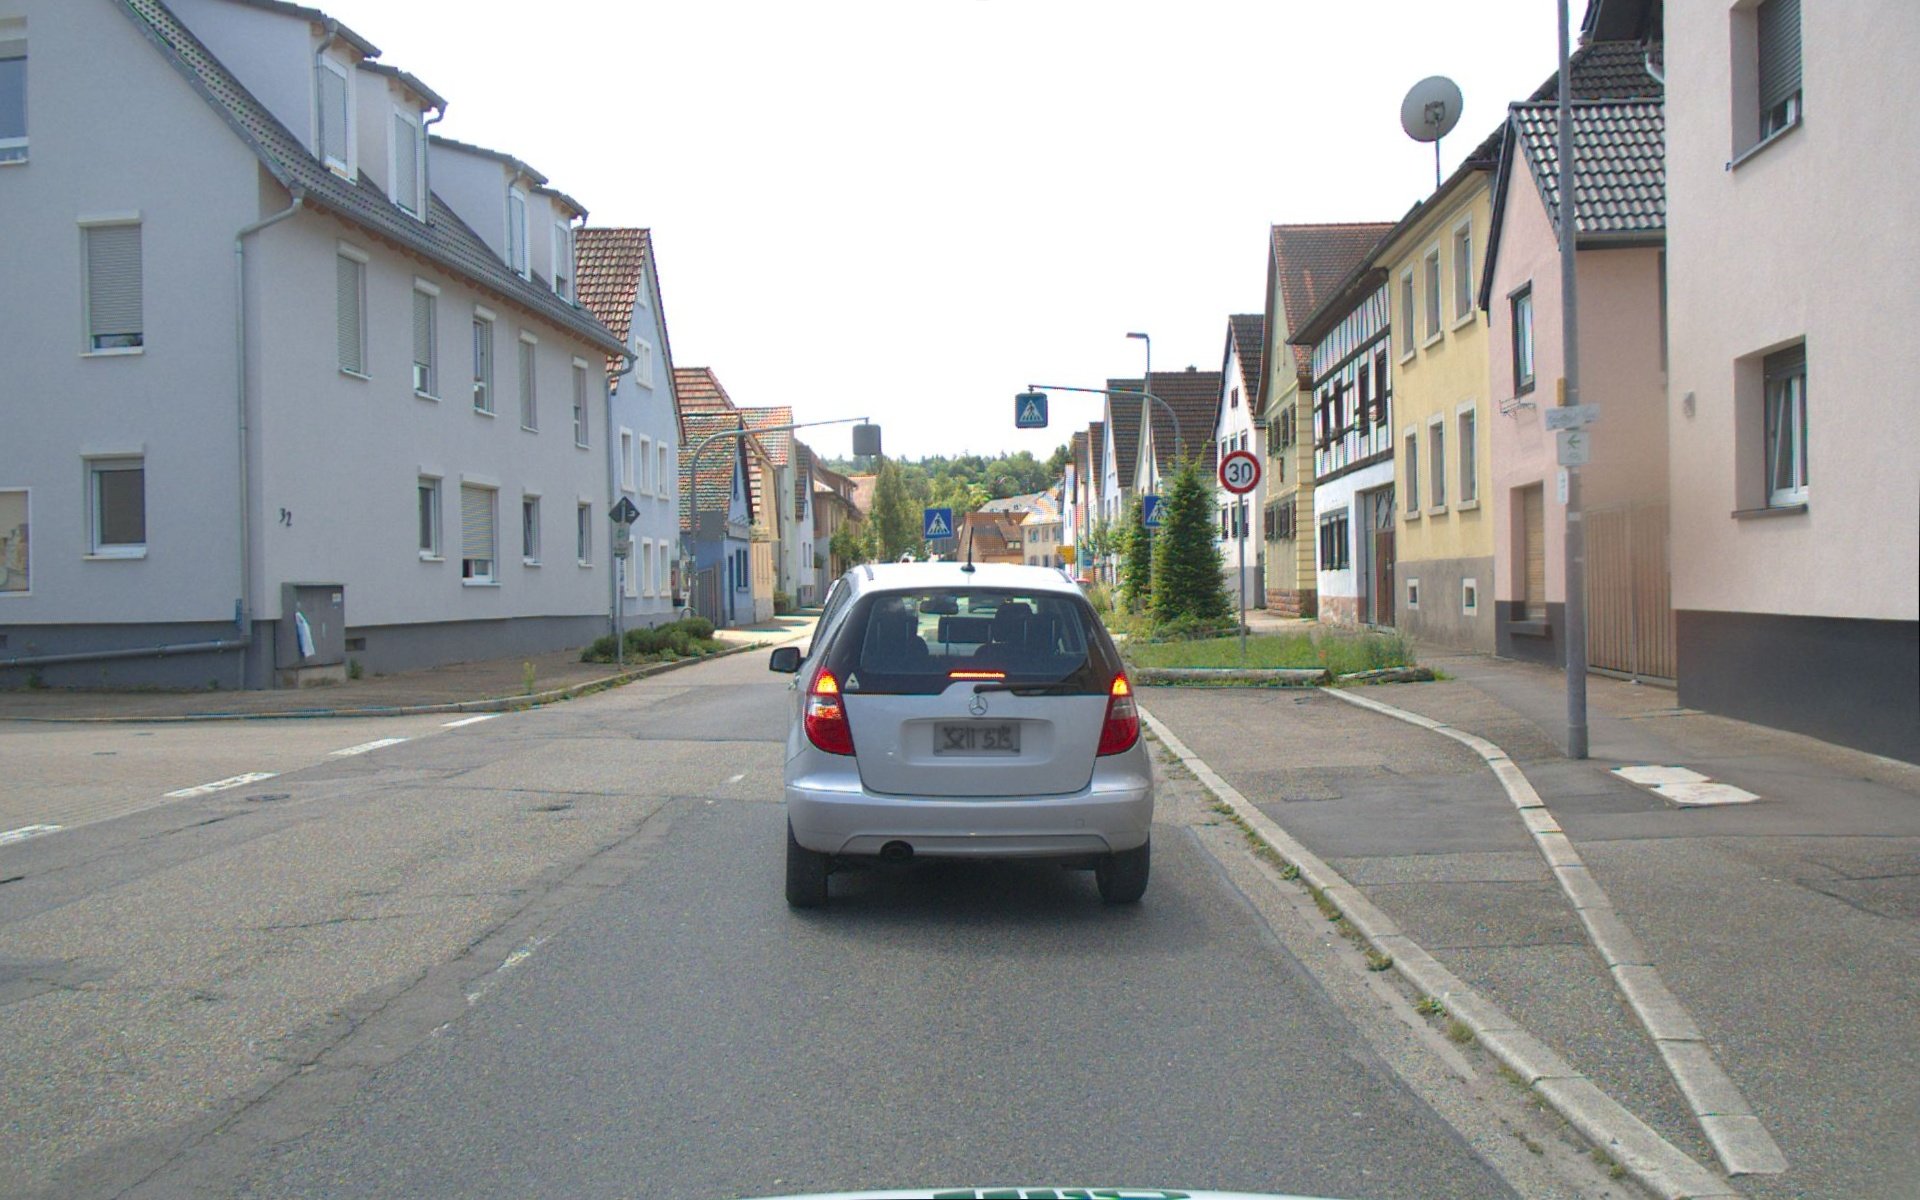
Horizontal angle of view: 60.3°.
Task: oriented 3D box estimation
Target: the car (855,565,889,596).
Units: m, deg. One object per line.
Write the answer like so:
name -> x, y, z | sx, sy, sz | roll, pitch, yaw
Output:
car -> -4.966, -1.092, 93.796 | 1.633, 1.624, 4.000 | 0, -1, 0

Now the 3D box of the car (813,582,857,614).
car -> -5.662, -0.060, 74.771 | 1.954, 1.344, 3.705 | 0, -1, -5

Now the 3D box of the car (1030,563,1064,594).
car -> 5.673, -1.376, 107.863 | 1.953, 1.848, 3.999 | 0, -1, -1

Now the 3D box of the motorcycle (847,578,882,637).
motorcycle -> -2.666, 0.195, 46.289 | 0.862, 1.588, 1.967 | 0, 1, 0

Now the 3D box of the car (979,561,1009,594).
car -> 2.238, -1.465, 109.310 | 1.952, 2.049, 4.000 | 0, -1, 0

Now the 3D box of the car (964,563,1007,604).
car -> 1.208, -0.762, 79.562 | 1.953, 1.848, 3.999 | 0, -1, -1

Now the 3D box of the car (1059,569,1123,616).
car -> 4.512, -0.229, 57.492 | 1.952, 1.534, 4.000 | 0, -1, 0

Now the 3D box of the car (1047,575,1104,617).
car -> 4.453, -0.132, 64.317 | 1.952, 1.534, 4.000 | 0, -1, 0

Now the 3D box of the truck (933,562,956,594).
truck -> -1.342, -1.874, 144.064 | 1.953, 2.581, 6.738 | 0, -1, 0

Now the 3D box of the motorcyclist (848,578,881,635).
motorcyclist -> -2.662, 0.179, 46.312 | 0.878, 1.582, 0.807 | 0, 1, 0

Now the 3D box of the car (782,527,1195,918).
car -> -0.062, 0.532, 9.025 | 1.776, 1.672, 3.724 | 1, 0, -6
